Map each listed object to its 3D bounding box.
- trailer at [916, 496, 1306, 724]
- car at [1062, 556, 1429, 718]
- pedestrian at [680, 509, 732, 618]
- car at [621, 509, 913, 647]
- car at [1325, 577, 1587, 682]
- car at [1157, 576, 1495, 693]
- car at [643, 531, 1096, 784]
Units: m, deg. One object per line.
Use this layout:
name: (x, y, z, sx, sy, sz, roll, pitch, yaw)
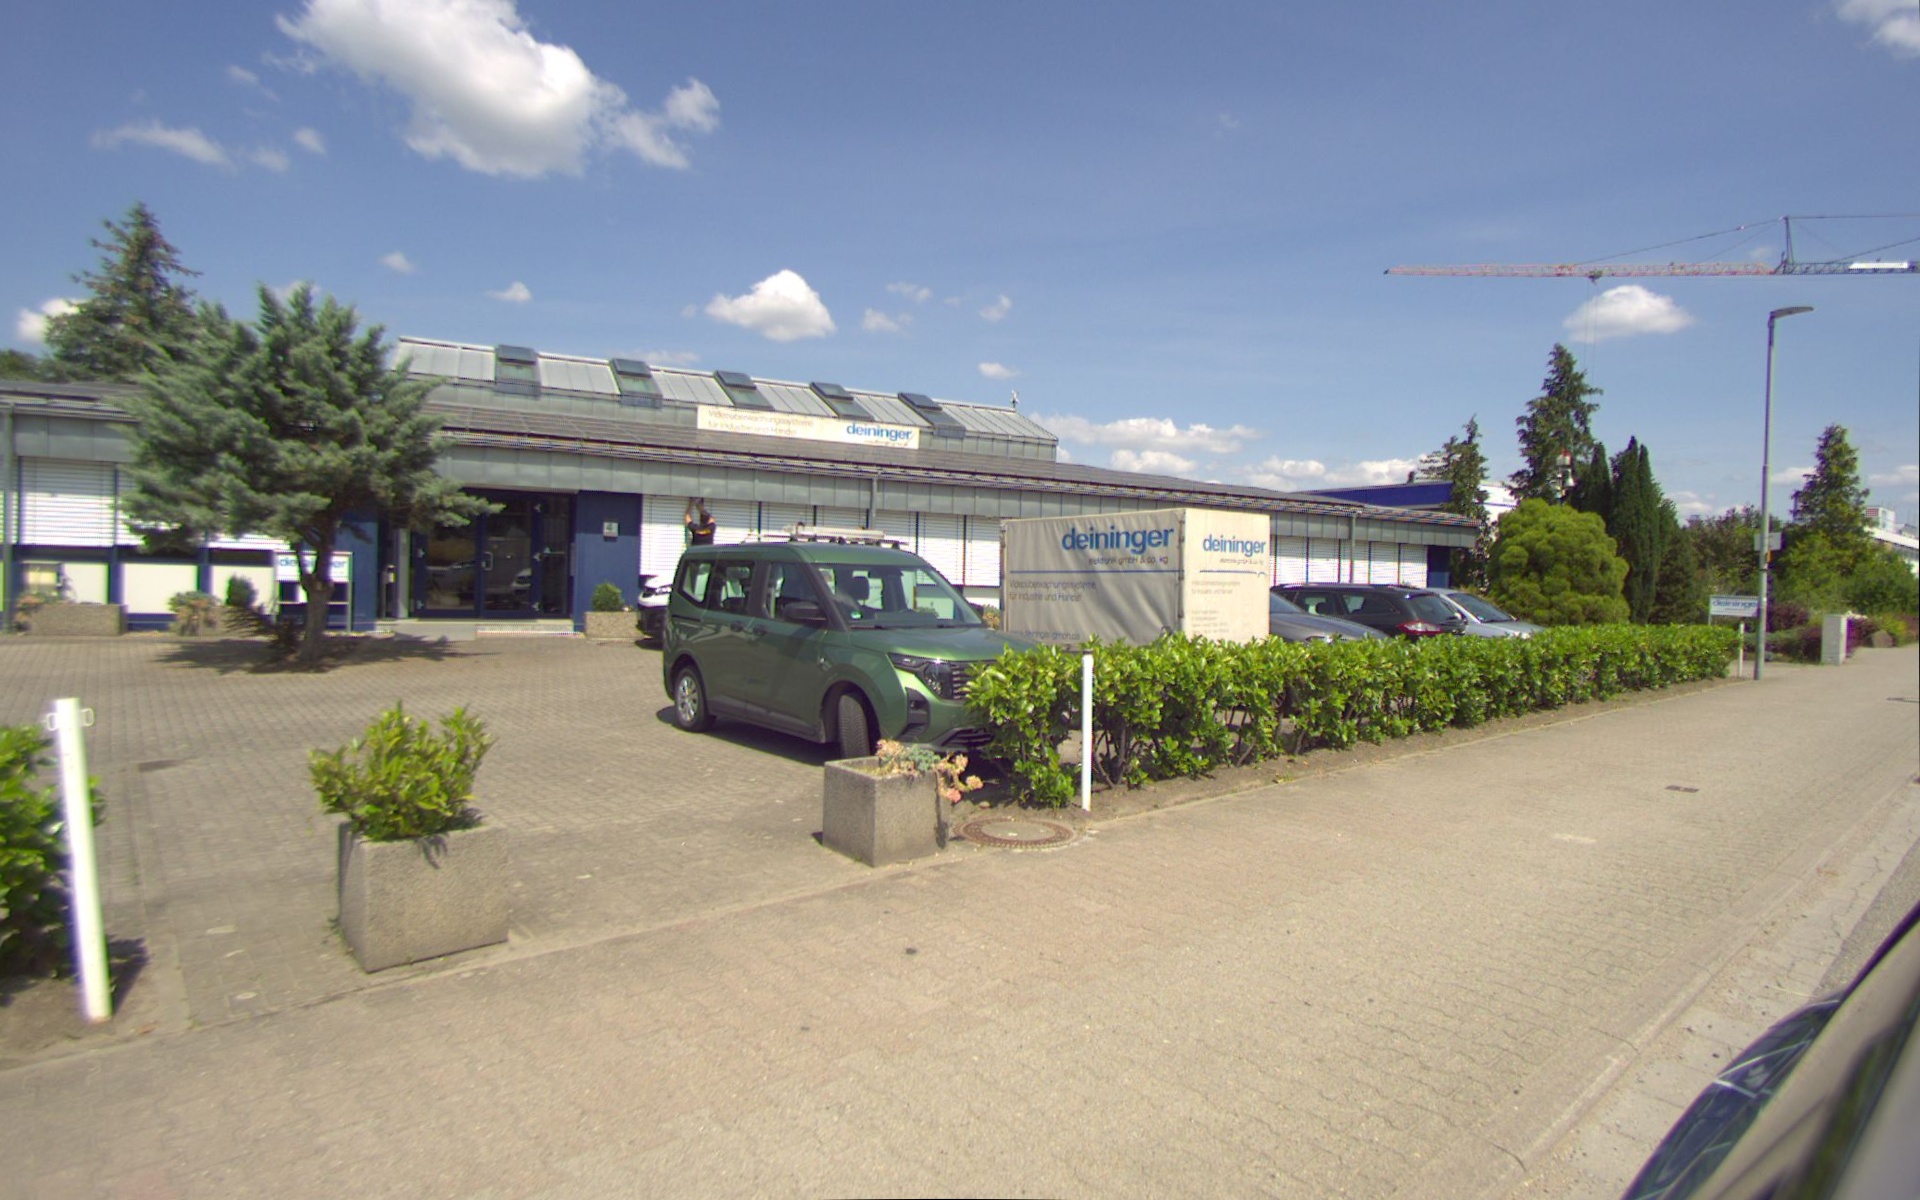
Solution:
trailer: (1.503, 0.036, 11.233, 1.965, 2.039, 3.995, 0, 1, -40)
car: (3.368, 0.292, 12.473, 4.036, 1.593, 1.687, 4, 5, 44)
pedestrian: (-4.717, -0.691, 18.806, 0.678, 1.966, 0.717, -2, 4, -42)
car: (-3.385, -0.406, 17.769, 4.619, 2.151, 2.112, 0, 3, -26)
car: (7.928, 0.394, 16.405, 1.736, 1.419, 3.364, 0, 2, -36)
car: (5.350, 0.402, 15.259, 1.785, 1.458, 4.479, 0, 1, -44)
car: (-1.010, 0.241, 8.785, 1.770, 1.653, 4.220, -2, 4, -41)
